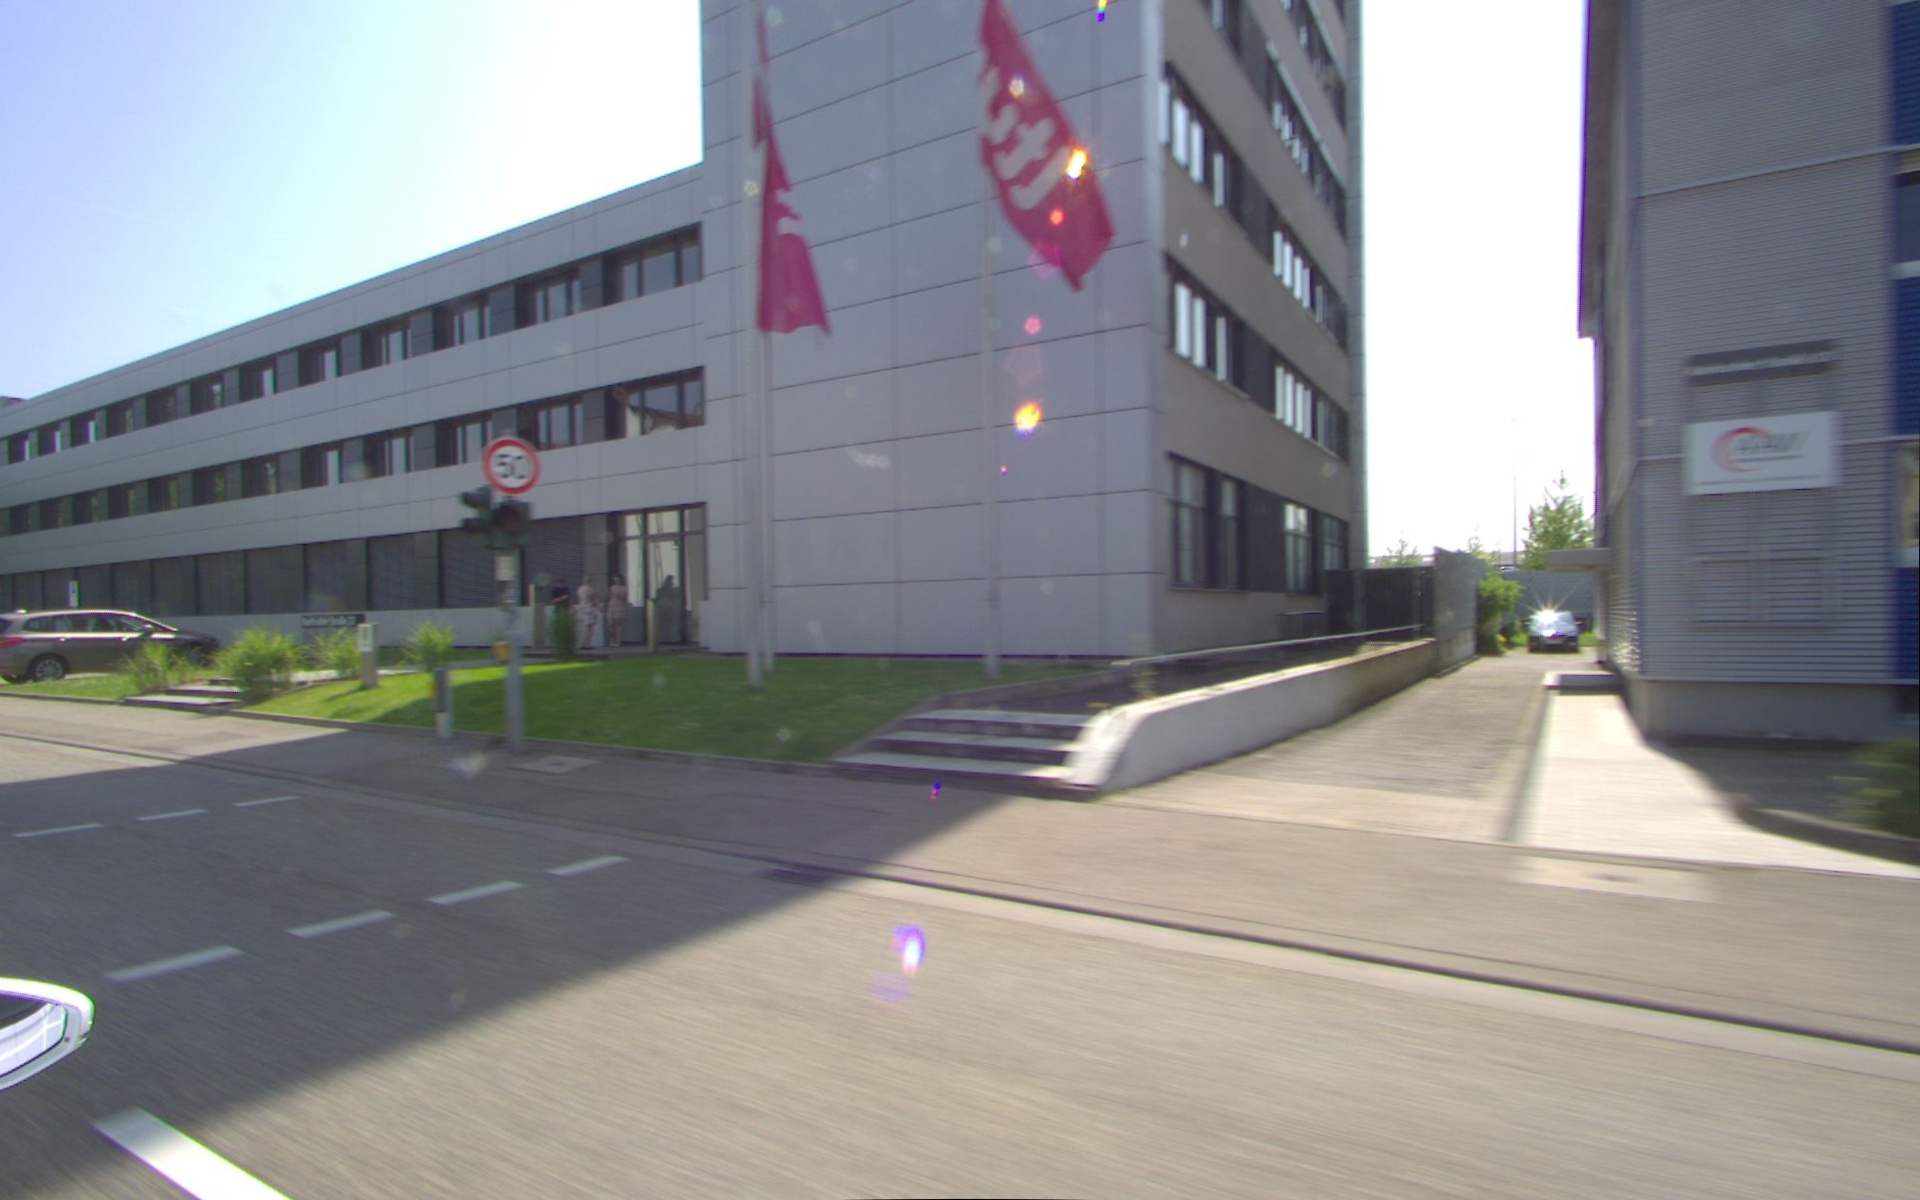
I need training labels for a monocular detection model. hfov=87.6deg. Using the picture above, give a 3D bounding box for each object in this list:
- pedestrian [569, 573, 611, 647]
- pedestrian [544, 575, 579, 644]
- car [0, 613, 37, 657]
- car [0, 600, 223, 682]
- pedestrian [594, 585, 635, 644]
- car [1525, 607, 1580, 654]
[{"bbox_3d":[-8.580,0.234,23.232,0.743,1.685,0.522,0,1,15],"label":"pedestrian"},{"bbox_3d":[-9.615,0.227,24.165,0.517,1.656,0.590,0,1,40],"label":"pedestrian"},{"bbox_3d":[-33.199,1.185,32.339,1.969,1.408,4.609,-1,0,28],"label":"car"},{"bbox_3d":[-20.263,0.876,23.582,1.969,1.711,4.255,0,0,28],"label":"car"},{"bbox_3d":[-8.410,0.346,24.378,0.786,1.424,0.522,0,1,22],"label":"pedestrian"},{"bbox_3d":[22.162,1.103,37.466,1.699,1.611,3.845,0,0,31],"label":"car"}]
